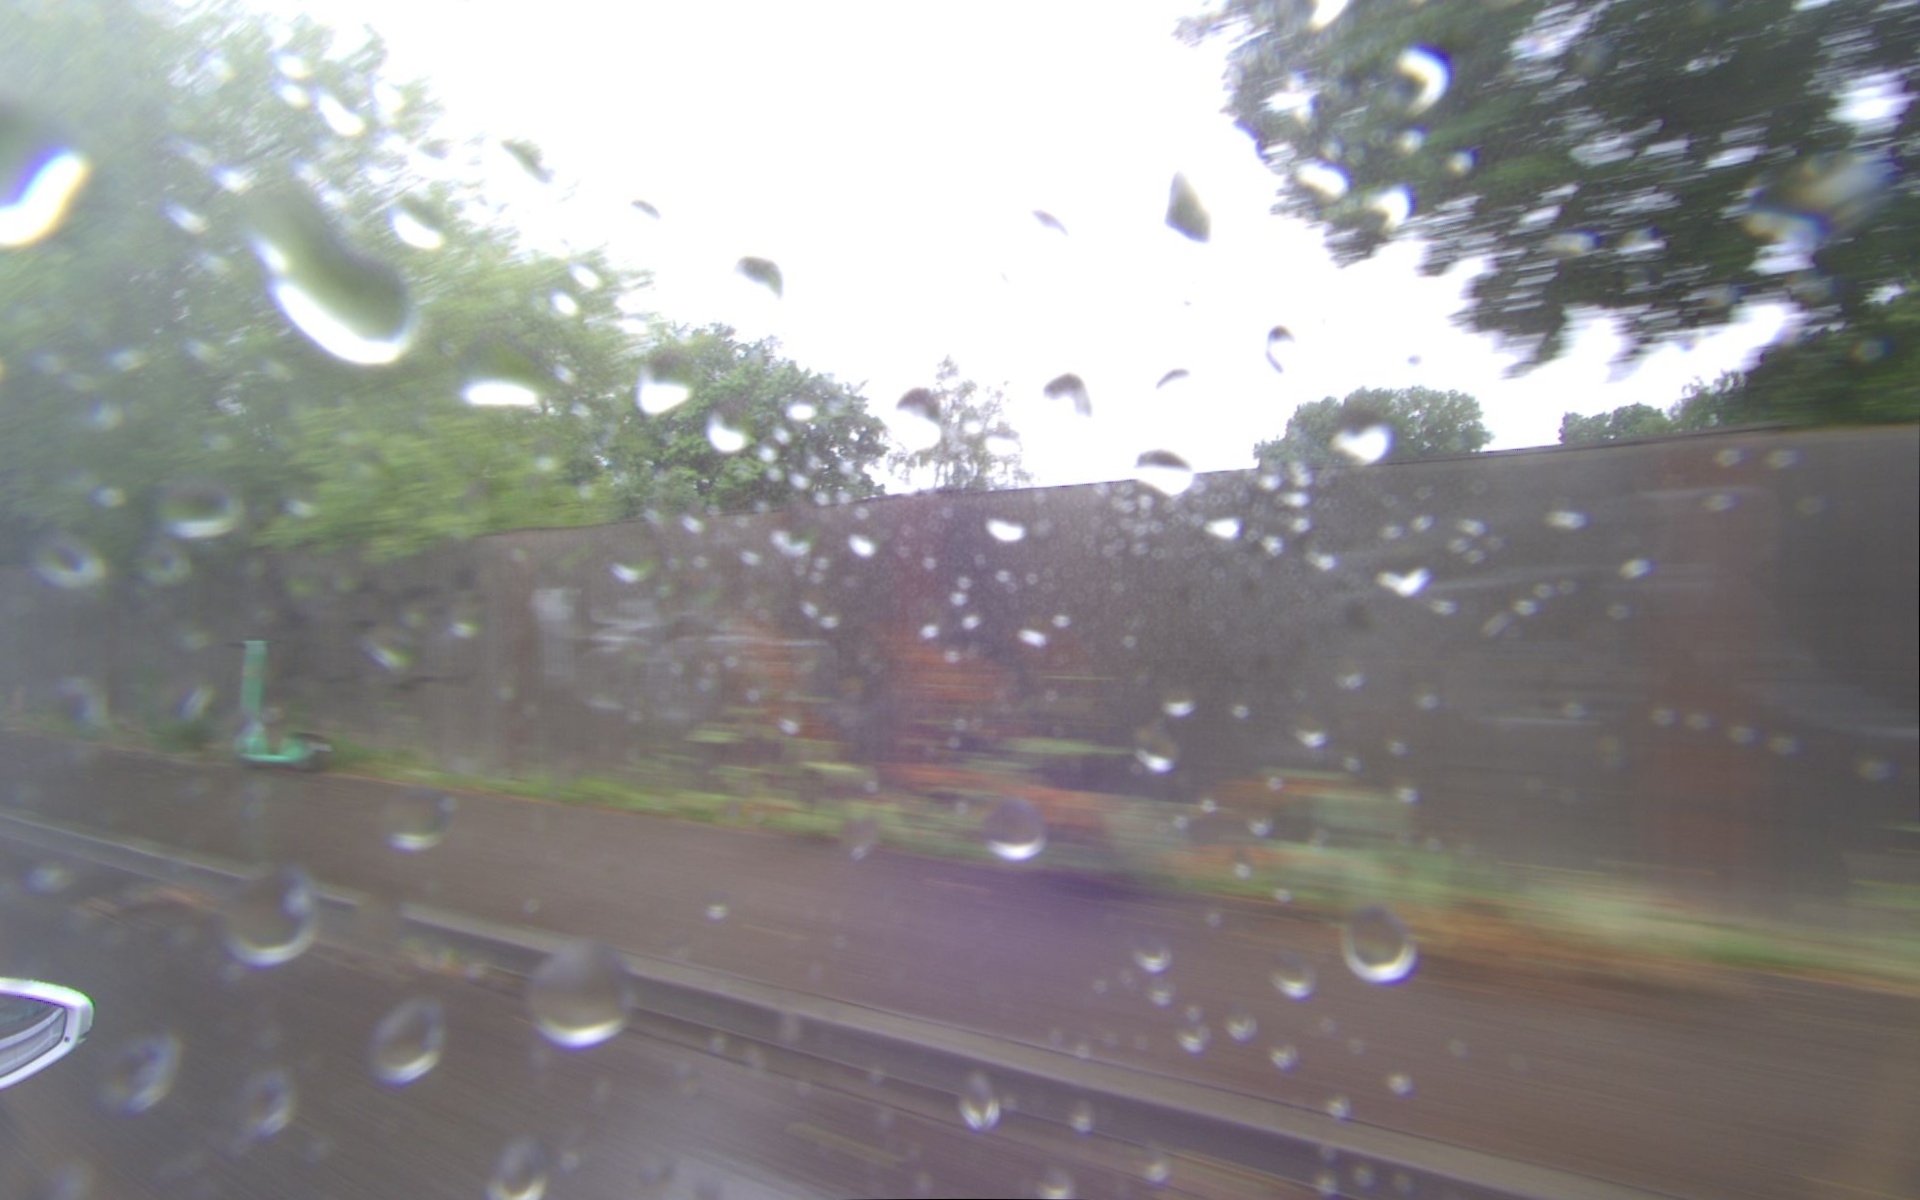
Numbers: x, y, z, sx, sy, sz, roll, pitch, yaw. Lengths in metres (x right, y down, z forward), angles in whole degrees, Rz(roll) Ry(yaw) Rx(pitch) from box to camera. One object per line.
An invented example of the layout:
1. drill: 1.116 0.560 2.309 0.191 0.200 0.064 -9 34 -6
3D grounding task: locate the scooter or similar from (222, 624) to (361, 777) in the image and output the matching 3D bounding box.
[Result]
1. scooter or similar: -5.903 0.864 8.820 1.351 1.250 0.490 -3 -1 32
